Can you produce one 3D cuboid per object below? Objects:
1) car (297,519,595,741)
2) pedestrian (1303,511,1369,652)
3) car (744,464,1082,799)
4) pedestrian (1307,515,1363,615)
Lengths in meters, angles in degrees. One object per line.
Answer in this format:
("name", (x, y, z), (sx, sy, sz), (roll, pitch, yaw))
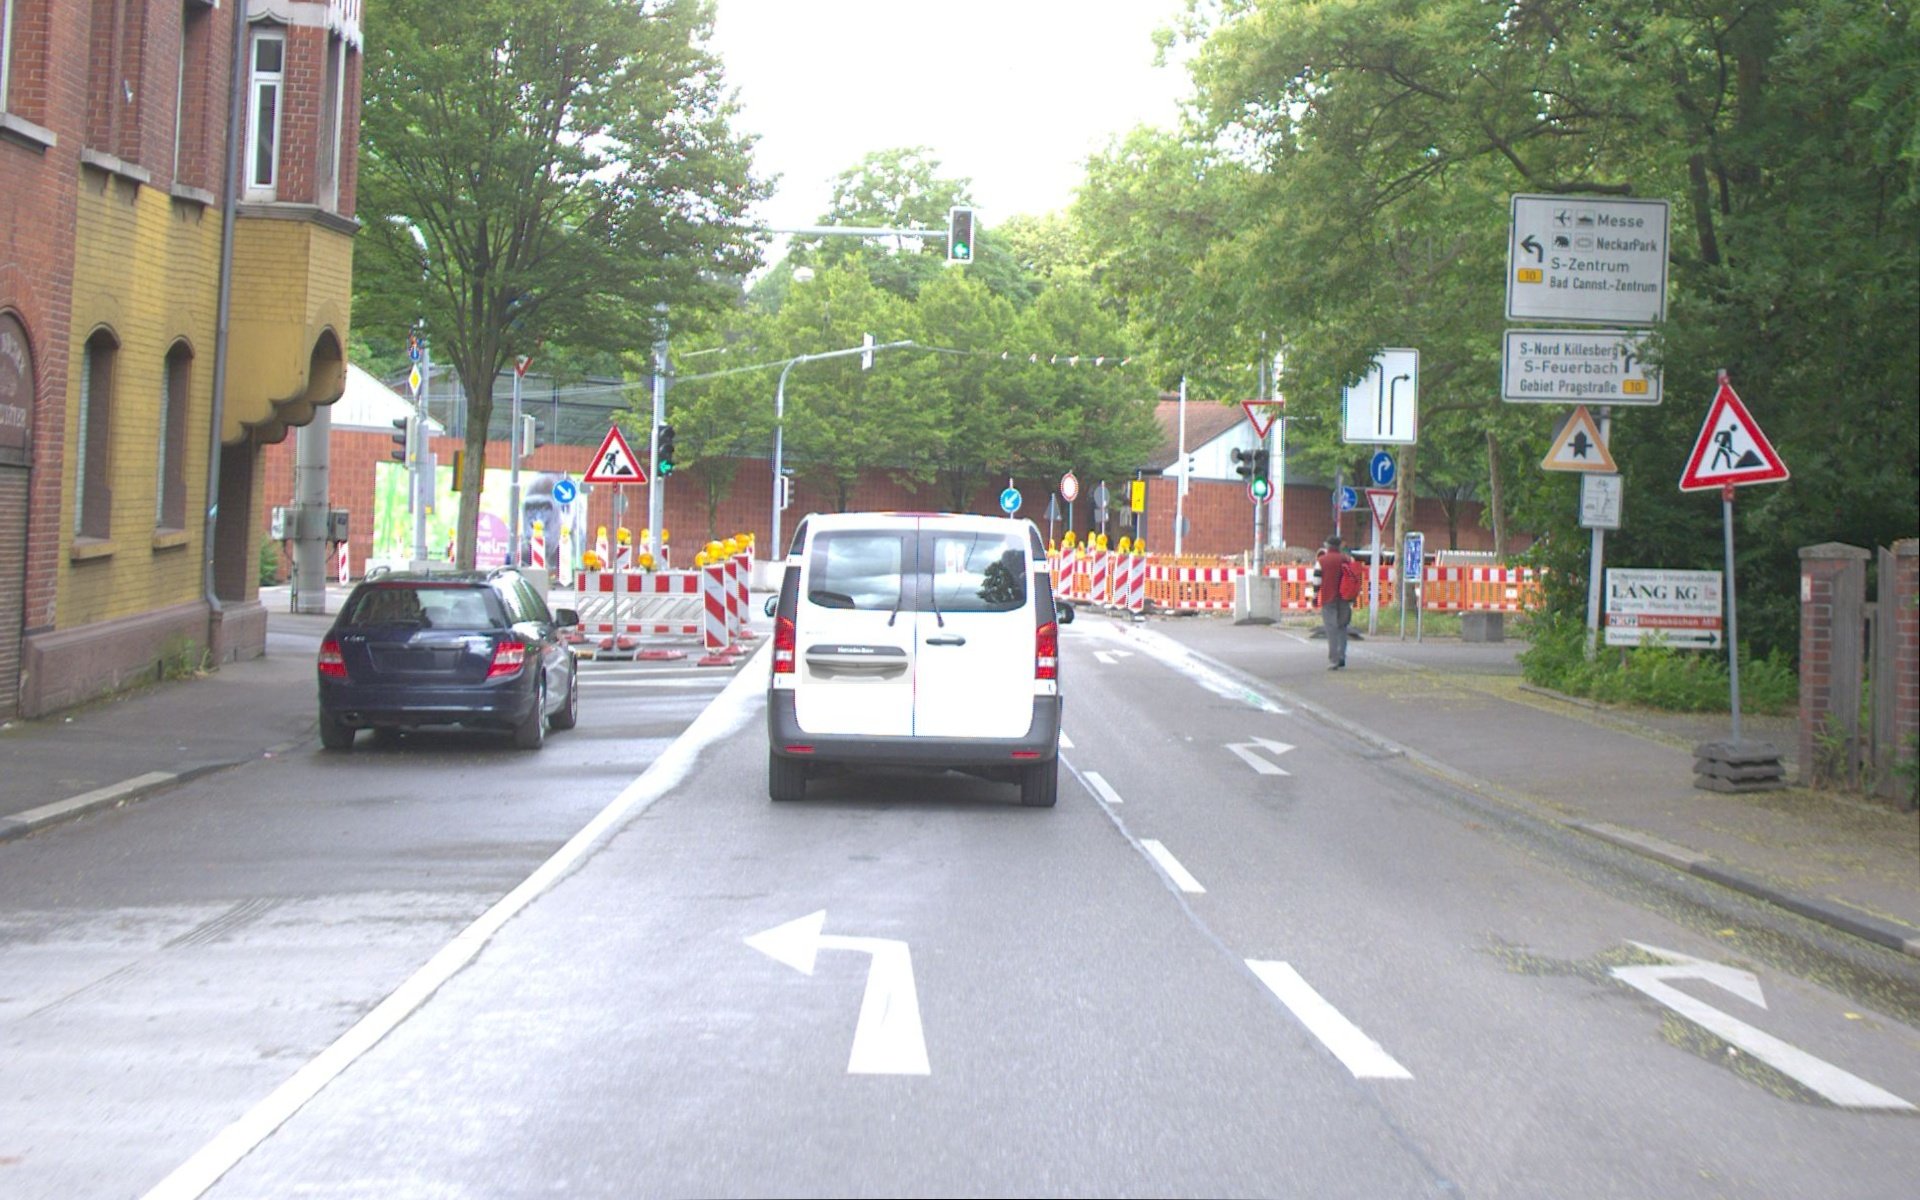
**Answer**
("car", (-4.191, 0.181, 28.651), (1.725, 1.480, 4.391), (4, 3, 0))
("pedestrian", (4.944, -0.249, 45.201), (0.779, 1.825, 0.728), (0, 2, 0))
("car", (-0.355, 0.221, 23.526), (1.917, 1.895, 4.701), (5, -1, -2))
("pedestrian", (6.479, -0.602, 59.375), (0.730, 1.691, 0.838), (1, 2, -9))
